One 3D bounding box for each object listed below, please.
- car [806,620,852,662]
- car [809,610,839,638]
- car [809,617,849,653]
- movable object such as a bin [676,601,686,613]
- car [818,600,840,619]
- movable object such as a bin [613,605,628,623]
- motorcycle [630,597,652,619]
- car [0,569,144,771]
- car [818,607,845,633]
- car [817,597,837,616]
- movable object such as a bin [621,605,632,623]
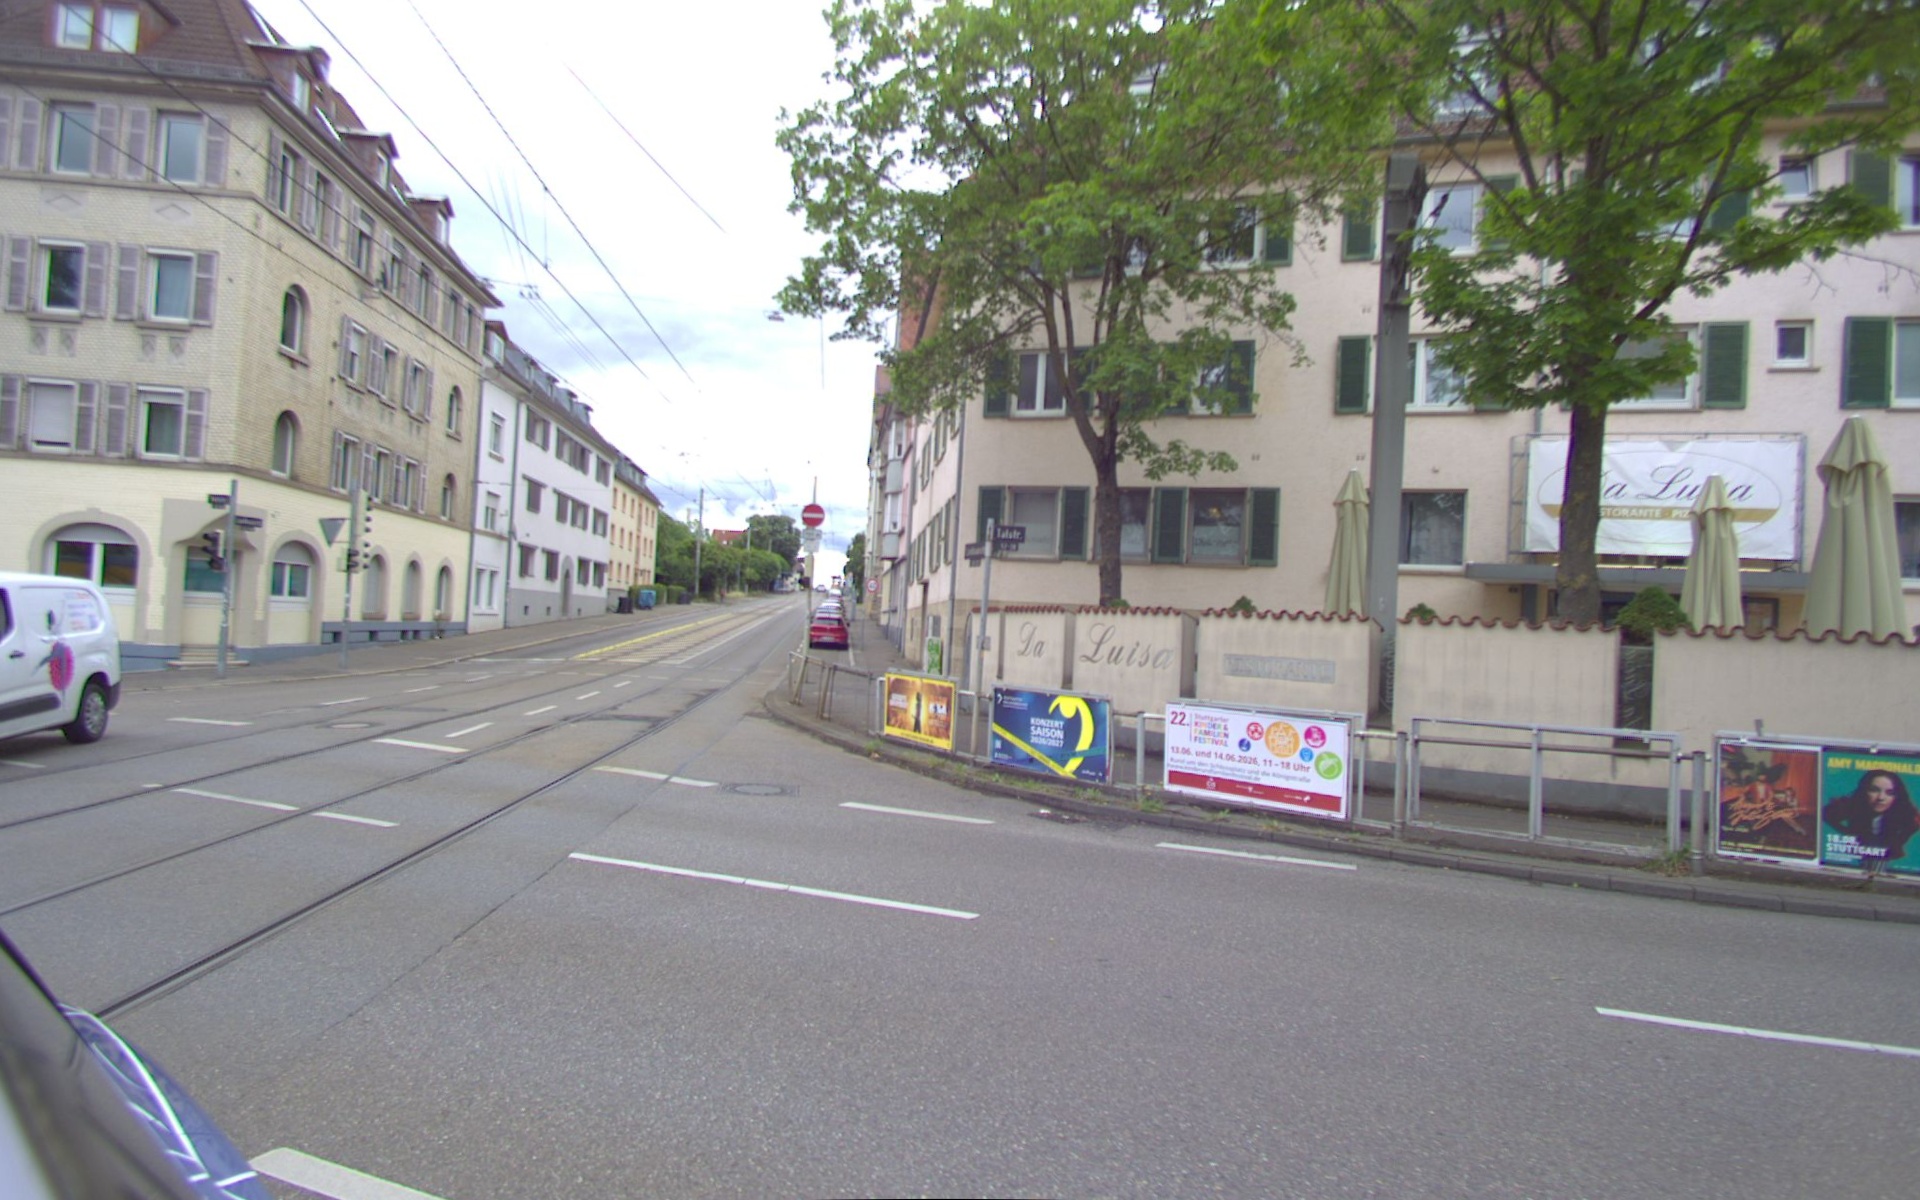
[{"bbox_3d":[-5.682,1.727,43.924,1.763,1.449,4.268,5,0,-7],"label":"car"},{"bbox_3d":[-8.507,1.456,63.597,1.717,1.522,3.807,3,0,-7],"label":"car"},{"bbox_3d":[-6.376,1.667,49.403,1.763,1.421,4.248,5,0,-7],"label":"car"},{"bbox_3d":[-24.078,0.614,87.312,0.659,1.067,0.540,2,0,-6],"label":"movable object such as a bin"},{"bbox_3d":[-12.088,0.834,93.158,1.716,1.469,3.961,5,0,-11],"label":"car"},{"bbox_3d":[-20.875,0.873,62.246,0.628,1.017,0.603,6,-1,-6],"label":"movable object such as a bin"},{"bbox_3d":[-22.146,0.569,70.284,0.722,1.400,1.936,7,0,0],"label":"motorcycle"},{"bbox_3d":[-9.774,0.636,9.302,1.857,1.852,4.690,1,-2,-17],"label":"car"},{"bbox_3d":[-8.897,1.368,69.826,1.717,1.579,4.151,3,1,-8],"label":"car"},{"bbox_3d":[-12.884,0.624,98.052,1.717,1.537,3.959,5,0,-8],"label":"car"},{"bbox_3d":[-20.821,0.877,63.208,0.556,1.017,0.500,6,-1,-15],"label":"movable object such as a bin"}]
